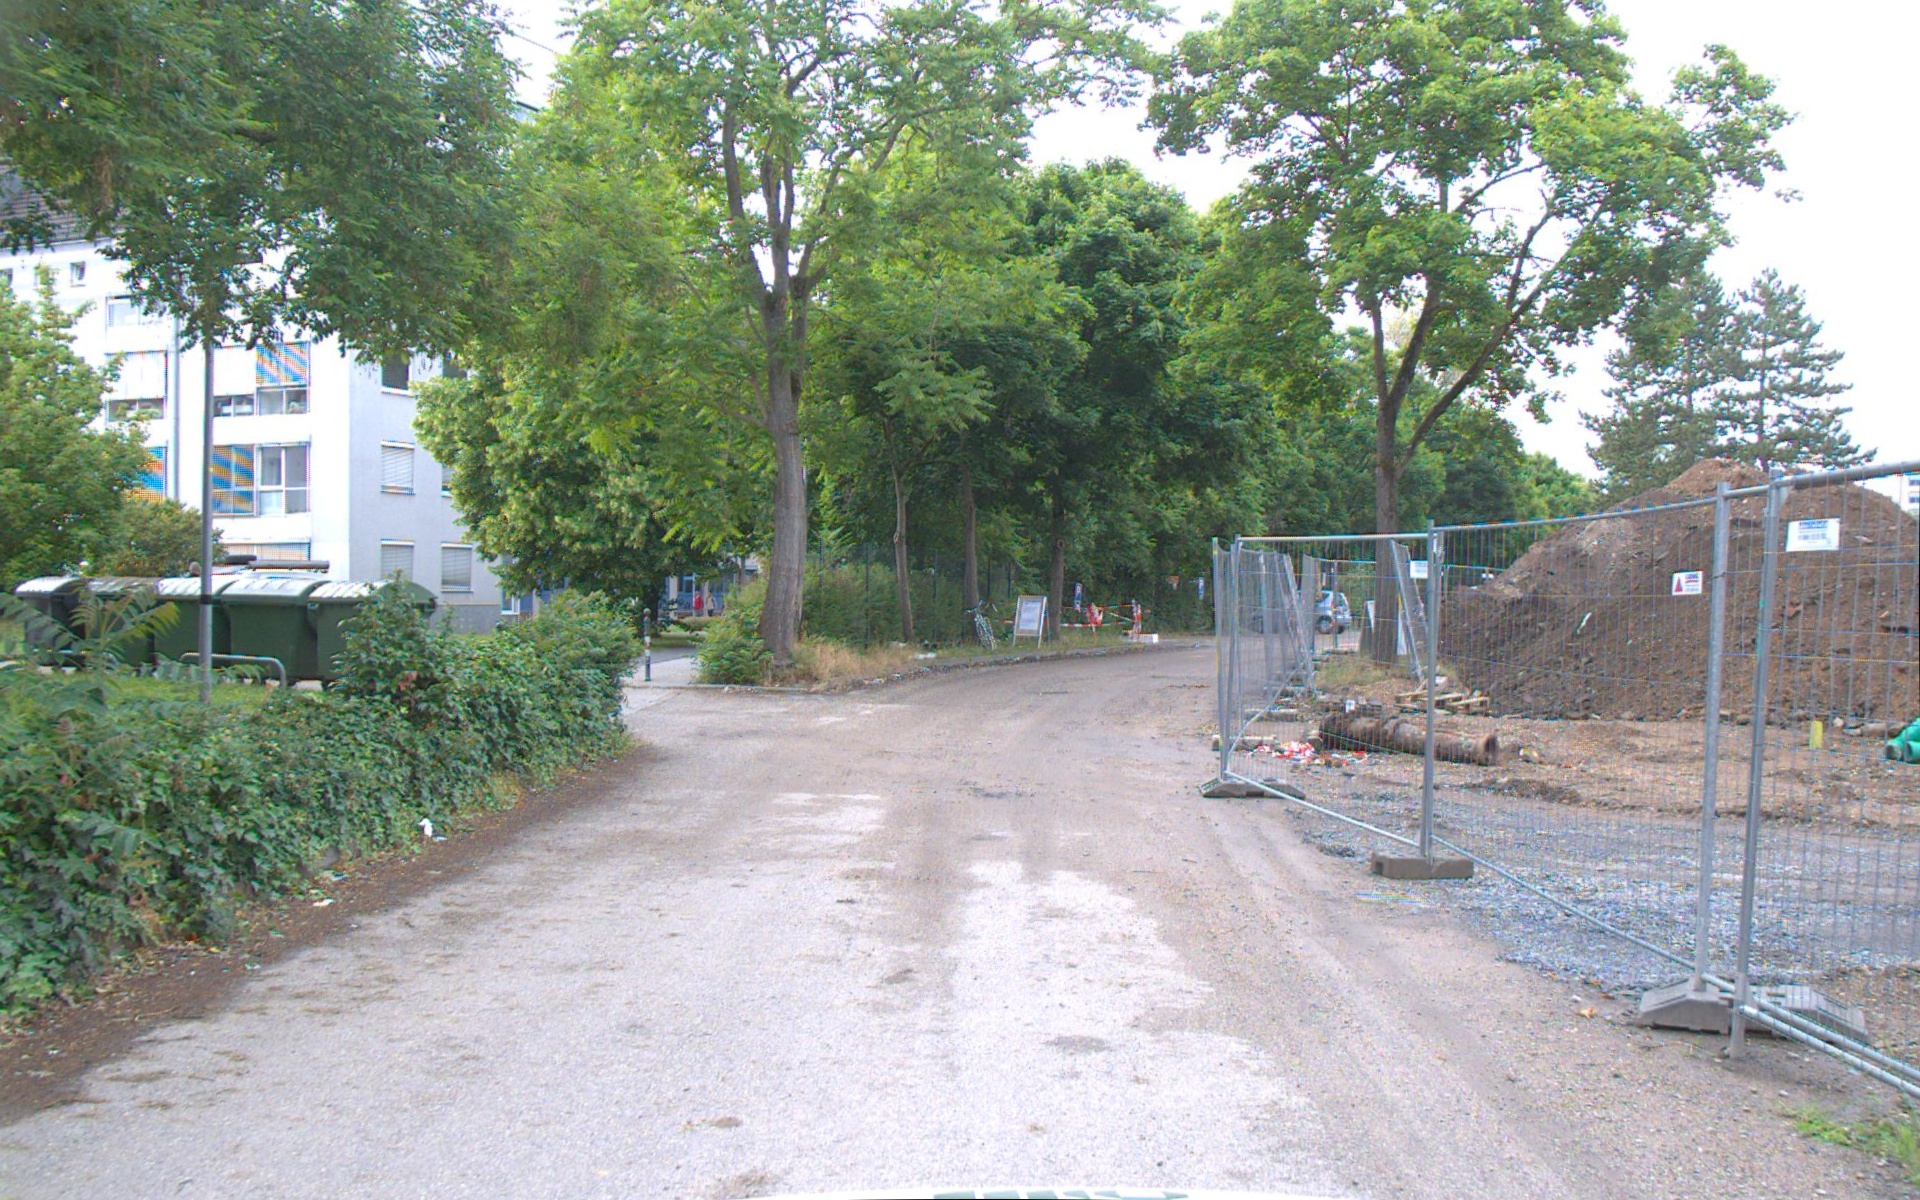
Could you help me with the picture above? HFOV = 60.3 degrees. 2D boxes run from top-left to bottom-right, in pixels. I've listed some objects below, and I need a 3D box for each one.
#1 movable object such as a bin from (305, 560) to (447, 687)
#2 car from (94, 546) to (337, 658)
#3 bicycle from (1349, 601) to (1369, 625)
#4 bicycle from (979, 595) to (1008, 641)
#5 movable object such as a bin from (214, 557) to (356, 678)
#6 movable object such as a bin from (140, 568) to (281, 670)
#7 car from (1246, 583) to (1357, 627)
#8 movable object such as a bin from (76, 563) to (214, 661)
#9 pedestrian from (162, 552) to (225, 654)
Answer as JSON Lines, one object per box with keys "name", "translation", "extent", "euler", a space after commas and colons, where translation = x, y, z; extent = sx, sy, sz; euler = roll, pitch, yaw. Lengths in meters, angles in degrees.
{"name": "movable object such as a bin", "translation": [-7.202, 0.269, 20.398], "extent": [1.327, 1.475, 1.052], "euler": [3, 1, 35]}
{"name": "car", "translation": [-14.621, 0.048, 32.752], "extent": [1.810, 2.049, 4.351], "euler": [-1, 0, 22]}
{"name": "bicycle", "translation": [16.925, 0.543, 70.127], "extent": [0.754, 0.995, 2.033], "euler": [1, 1, 15]}
{"name": "bicycle", "translation": [0.702, 0.361, 34.273], "extent": [0.409, 0.921, 1.155], "euler": [1, 1, 10]}
{"name": "movable object such as a bin", "translation": [-8.598, 0.216, 21.096], "extent": [1.322, 1.481, 1.056], "euler": [0, 0, 21]}
{"name": "movable object such as a bin", "translation": [-9.824, 0.235, 21.700], "extent": [1.322, 1.287, 1.056], "euler": [0, 0, 21]}
{"name": "car", "translation": [12.656, 0.160, 61.352], "extent": [3.630, 1.527, 1.864], "euler": [1, 1, 30]}
{"name": "movable object such as a bin", "translation": [-11.035, 0.150, 22.414], "extent": [1.321, 1.287, 1.056], "euler": [0, 0, 18]}
{"name": "pedestrian", "translation": [-14.038, 0.059, 30.292], "extent": [0.682, 1.840, 0.756], "euler": [-1, 0, 22]}
